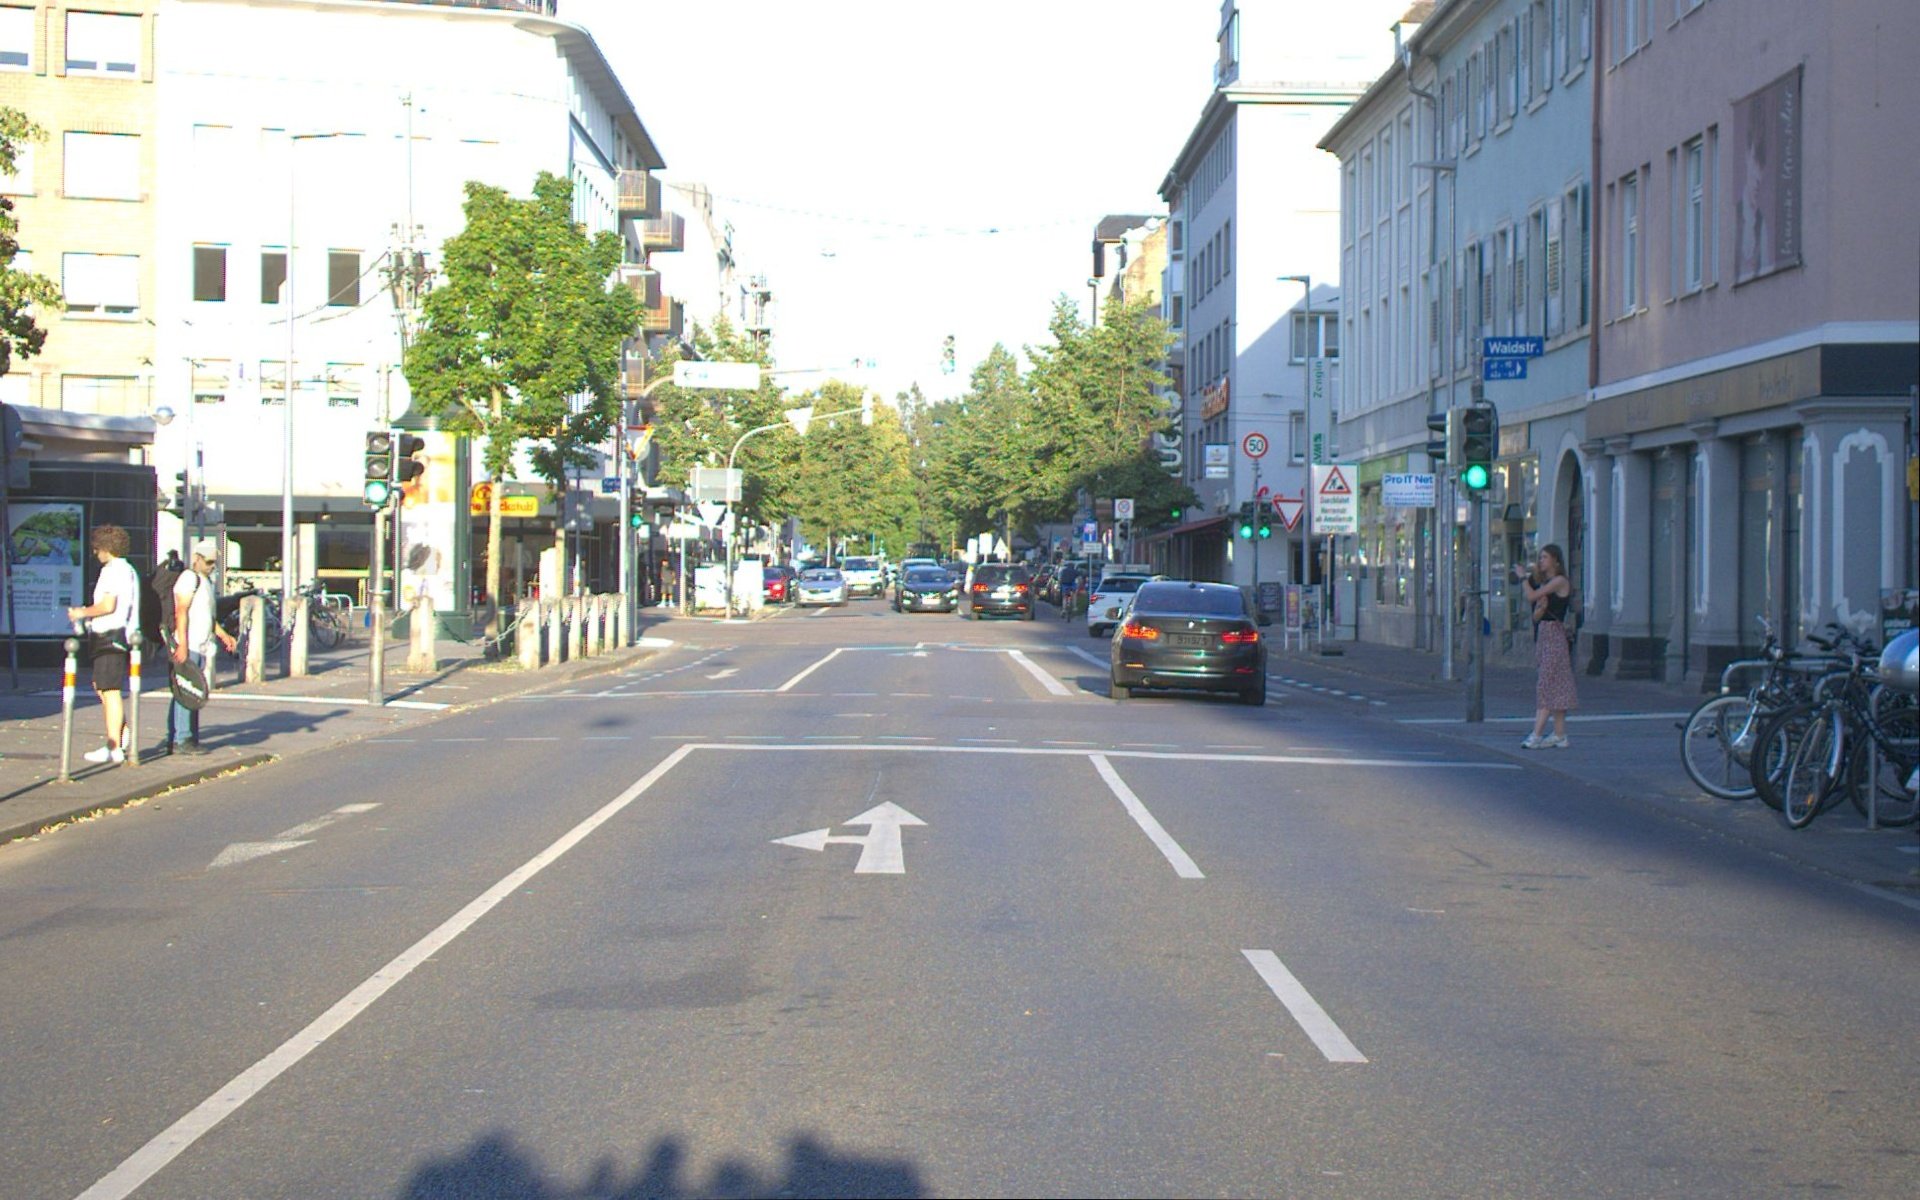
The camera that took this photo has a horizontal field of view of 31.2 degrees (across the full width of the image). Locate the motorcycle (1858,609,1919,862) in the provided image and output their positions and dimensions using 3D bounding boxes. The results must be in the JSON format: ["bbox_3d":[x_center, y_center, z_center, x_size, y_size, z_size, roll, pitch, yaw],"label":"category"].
[{"bbox_3d":[5.611,0.674,17.632,1.812,1.259,0.716,-1,1,-2],"label":"motorcycle"}]

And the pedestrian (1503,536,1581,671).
[{"bbox_3d":[7.801,0.039,46.085,0.757,1.771,1.048,1,1,-5],"label":"pedestrian"}]

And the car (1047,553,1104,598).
[{"bbox_3d":[4.340,-0.933,129.288,1.993,1.611,4.000,1,1,0],"label":"car"}]

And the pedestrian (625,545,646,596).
[{"bbox_3d":[-11.053,-0.993,117.085,0.600,1.715,0.578,1,1,-14],"label":"pedestrian"}]

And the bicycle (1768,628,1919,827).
[{"bbox_3d":[5.637,0.732,19.637,1.884,1.109,0.593,1,-1,-3],"label":"bicycle"}]

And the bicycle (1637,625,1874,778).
[{"bbox_3d":[5.512,0.700,23.862,1.500,1.012,0.512,1,1,-2],"label":"bicycle"}]

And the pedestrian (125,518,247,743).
[{"bbox_3d":[-6.024,0.229,26.772,0.881,1.714,0.715,1,1,-11],"label":"pedestrian"}]

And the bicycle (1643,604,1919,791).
[{"bbox_3d":[5.388,0.616,21.962,1.884,1.163,0.723,0,1,-3],"label":"bicycle"}]

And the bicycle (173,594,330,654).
[{"bbox_3d":[-11.081,0.375,53.815,2.327,0.916,0.701,1,0,-2],"label":"bicycle"}]

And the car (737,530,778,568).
[{"bbox_3d":[-10.892,-2.751,185.039,1.828,2.007,3.676,1,1,1],"label":"car"}]

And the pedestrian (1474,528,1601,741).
[{"bbox_3d":[4.732,0.274,28.210,0.794,1.714,0.812,1,1,-7],"label":"pedestrian"}]

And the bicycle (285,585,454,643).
[{"bbox_3d":[-10.802,0.247,62.958,2.942,1.019,0.843,1,0,3],"label":"bicycle"}]

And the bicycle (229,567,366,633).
[{"bbox_3d":[-11.521,-0.006,59.819,2.235,1.131,0.812,1,0,-2],"label":"bicycle"}]

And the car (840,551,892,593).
[{"bbox_3d":[-4.014,-1.215,147.139,1.993,1.744,4.000,1,1,1],"label":"car"}]

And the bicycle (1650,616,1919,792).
[{"bbox_3d":[5.611,0.683,22.771,1.884,1.109,0.762,1,1,-3],"label":"bicycle"}]

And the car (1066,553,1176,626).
[{"bbox_3d":[3.701,-0.263,79.543,2.334,1.598,3.894,1,1,0],"label":"car"}]

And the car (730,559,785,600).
[{"bbox_3d":[-8.120,-0.850,138.098,1.894,1.590,4.000,1,1,1],"label":"car"}]

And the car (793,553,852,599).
[{"bbox_3d":[-4.994,-0.887,125.565,1.894,1.590,4.000,1,1,1],"label":"car"}]

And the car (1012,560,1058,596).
[{"bbox_3d":[3.424,-1.004,156.846,1.780,1.590,3.635,1,1,-3],"label":"car"}]

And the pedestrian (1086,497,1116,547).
[{"bbox_3d":[5.756,-3.163,139.940,1.146,2.007,1.153,1,1,5],"label":"pedestrian"}]

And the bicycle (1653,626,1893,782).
[{"bbox_3d":[5.519,0.702,23.374,1.500,1.022,0.512,0,1,-4],"label":"bicycle"}]

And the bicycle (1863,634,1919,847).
[{"bbox_3d":[5.886,0.743,18.517,1.884,1.108,0.593,0,1,-3],"label":"bicycle"}]

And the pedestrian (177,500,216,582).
[{"bbox_3d":[-15.033,-1.162,67.690,0.547,1.605,0.643,0,0,-34],"label":"pedestrian"}]

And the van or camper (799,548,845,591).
[{"bbox_3d":[-7.897,-1.735,195.986,2.472,2.397,4.001,1,1,-4],"label":"van or camper"}]

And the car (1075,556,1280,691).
[{"bbox_3d":[2.511,0.237,40.674,1.888,1.487,4.205,1,1,-4],"label":"car"}]

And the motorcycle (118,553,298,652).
[{"bbox_3d":[-11.064,0.031,50.658,2.413,1.421,1.113,1,0,-1],"label":"motorcycle"}]

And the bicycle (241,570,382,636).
[{"bbox_3d":[-11.447,0.053,60.736,2.323,1.127,0.800,1,0,2],"label":"bicycle"}]

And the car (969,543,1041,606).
[{"bbox_3d":[1.270,-0.742,98.647,1.993,1.744,4.000,1,1,0],"label":"car"}]

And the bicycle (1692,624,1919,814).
[{"bbox_3d":[5.498,0.725,21.010,1.884,1.109,0.602,1,1,-3],"label":"bicycle"}]

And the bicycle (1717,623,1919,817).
[{"bbox_3d":[5.523,0.716,20.469,1.884,1.109,0.521,1,1,-3],"label":"bicycle"}]

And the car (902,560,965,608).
[{"bbox_3d":[-0.829,-0.533,110.617,1.885,1.481,4.000,1,1,1],"label":"car"}]

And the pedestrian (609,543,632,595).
[{"bbox_3d":[-11.346,-1.048,114.936,0.684,1.715,0.702,1,1,0],"label":"pedestrian"}]

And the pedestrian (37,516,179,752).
[{"bbox_3d":[-6.324,0.247,25.513,0.868,1.714,0.760,1,1,-25],"label":"pedestrian"}]
